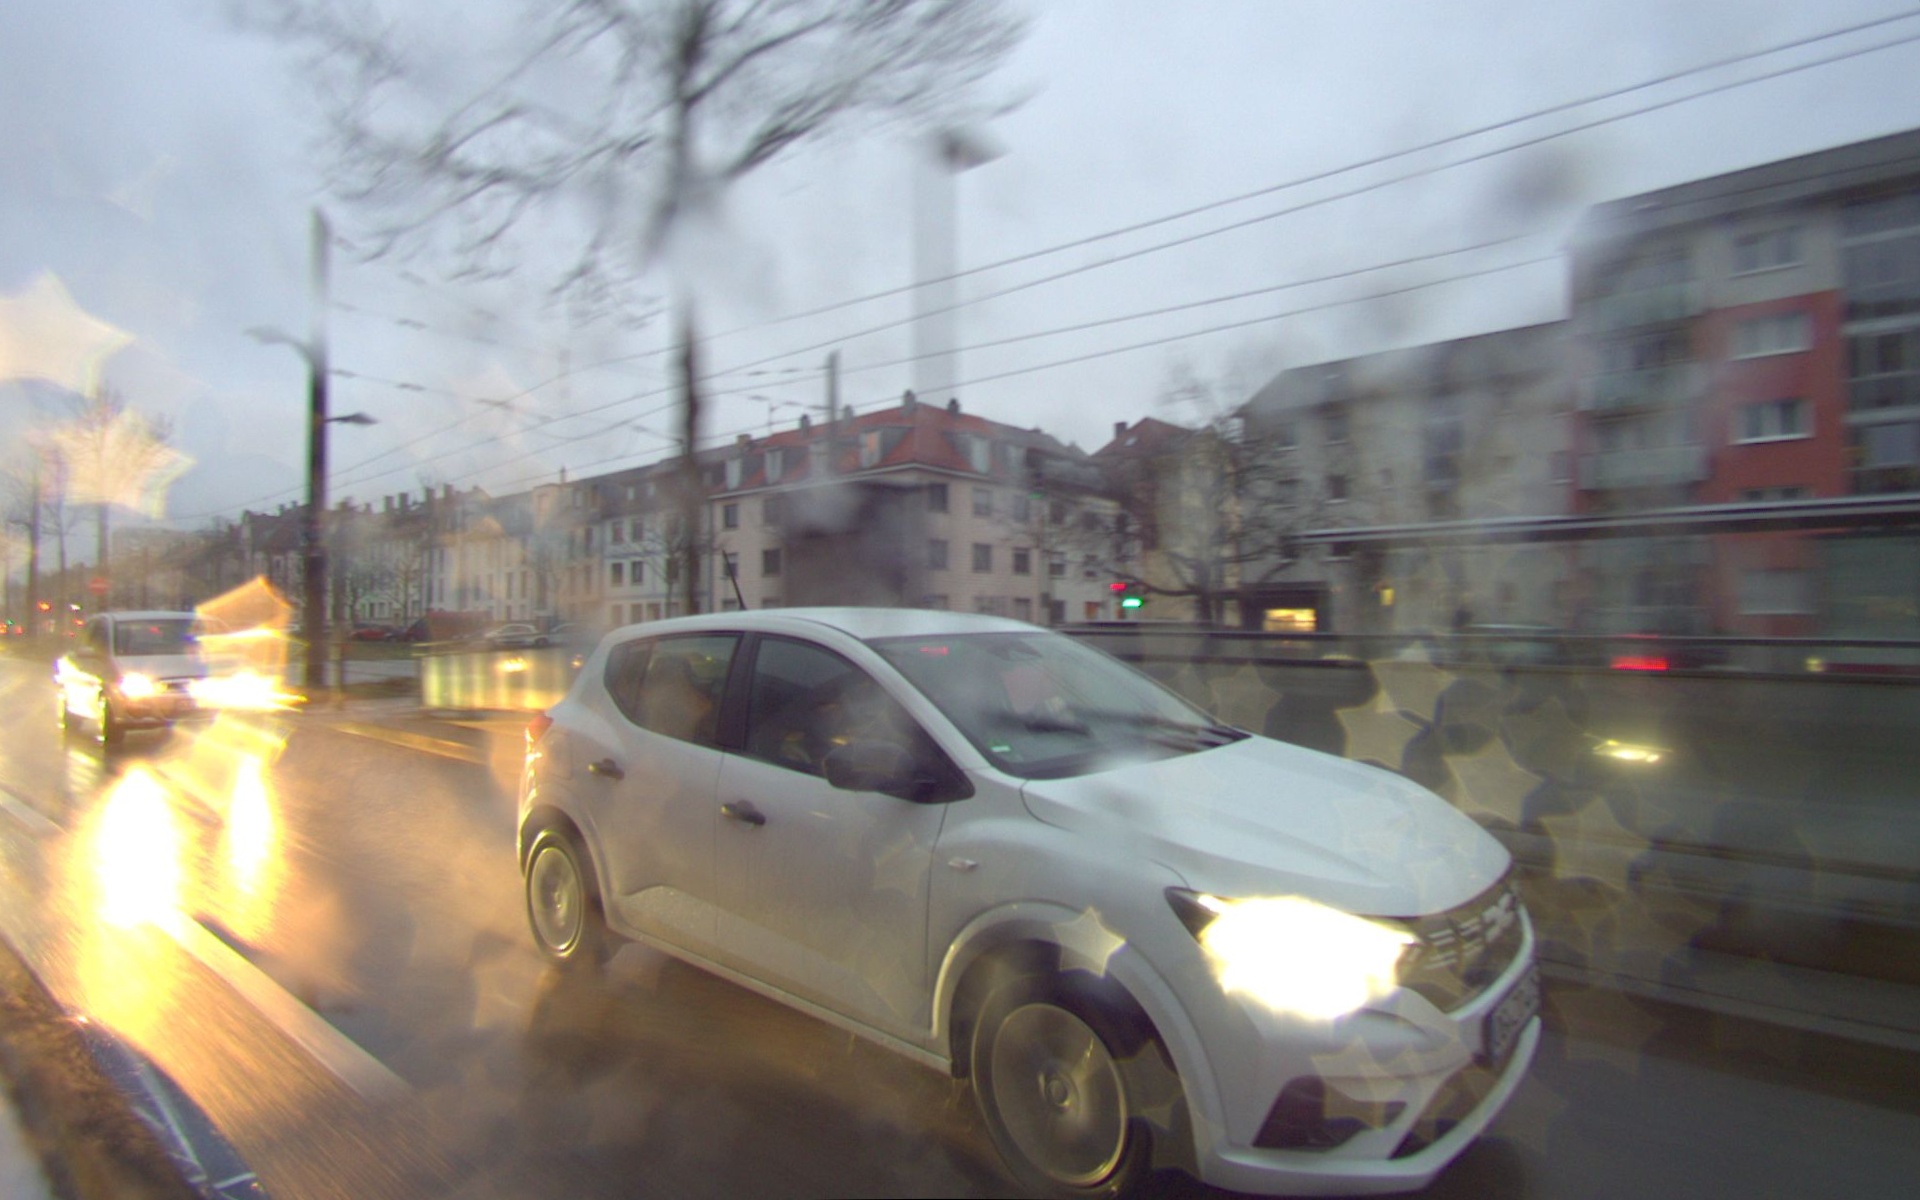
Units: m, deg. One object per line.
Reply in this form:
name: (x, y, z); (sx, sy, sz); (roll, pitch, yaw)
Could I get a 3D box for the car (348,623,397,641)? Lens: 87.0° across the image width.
car: (-47.376, 2.585, 81.651); (3.151, 1.326, 1.556); (0, 0, -18)

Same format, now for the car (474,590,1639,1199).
car: (-0.011, 0.721, 3.697); (3.997, 1.477, 1.691); (0, 0, 40)

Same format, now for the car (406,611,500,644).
car: (-36.474, 1.962, 72.967); (5.810, 2.271, 1.827); (0, 0, -14)

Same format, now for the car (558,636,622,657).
car: (-20.806, 2.620, 56.933); (3.259, 1.140, 1.317); (1, -2, -14)

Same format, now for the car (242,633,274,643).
car: (-75.091, 4.053, 108.303); (2.528, 0.994, 1.259); (-1, 0, -18)

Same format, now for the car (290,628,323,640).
car: (-64.645, 3.345, 100.123); (1.255, 1.114, 2.591); (0, 0, 44)

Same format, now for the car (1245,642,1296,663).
car: (22.889, 3.872, 74.785); (3.515, 1.448, 1.551); (0, 0, 14)

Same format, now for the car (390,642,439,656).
car: (-41.494, 3.697, 77.001); (3.057, 1.014, 1.189); (0, -2, -14)

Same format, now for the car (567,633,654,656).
car: (-18.782, 2.375, 54.545); (4.332, 1.140, 1.251); (0, 0, -14)

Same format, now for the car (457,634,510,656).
car: (-32.122, 3.043, 68.281); (3.057, 1.395, 1.317); (0, -2, -14)

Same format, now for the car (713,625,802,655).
car: (-9.289, 1.806, 46.345); (3.933, 1.265, 1.448); (0, 0, -14)

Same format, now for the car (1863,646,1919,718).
car: (16.658, 1.377, 16.468); (1.247, 1.108, 2.856); (-1, 0, -44)

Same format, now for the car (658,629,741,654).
car: (-13.009, 2.060, 50.666); (3.934, 1.140, 1.365); (0, 0, -12)

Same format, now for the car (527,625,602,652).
car: (-23.097, 2.235, 59.246); (3.946, 1.516, 1.317); (0, 0, -13)

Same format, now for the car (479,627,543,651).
car: (-28.244, 2.454, 63.741); (3.548, 1.395, 1.317); (0, -2, -16)

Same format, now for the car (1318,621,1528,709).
car: (9.631, 1.282, 21.187); (3.747, 1.651, 1.507); (0, -1, 41)

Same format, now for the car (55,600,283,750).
car: (-10.716, 0.856, 13.605); (1.992, 1.690, 4.003); (-1, 0, -44)

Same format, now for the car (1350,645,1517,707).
car: (8.395, 1.307, 18.017); (2.491, 0.945, 1.132); (0, -1, 42)

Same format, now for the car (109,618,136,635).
car: (-110.202, 3.468, 133.161); (3.997, 2.029, 1.973); (0, 0, 40)
